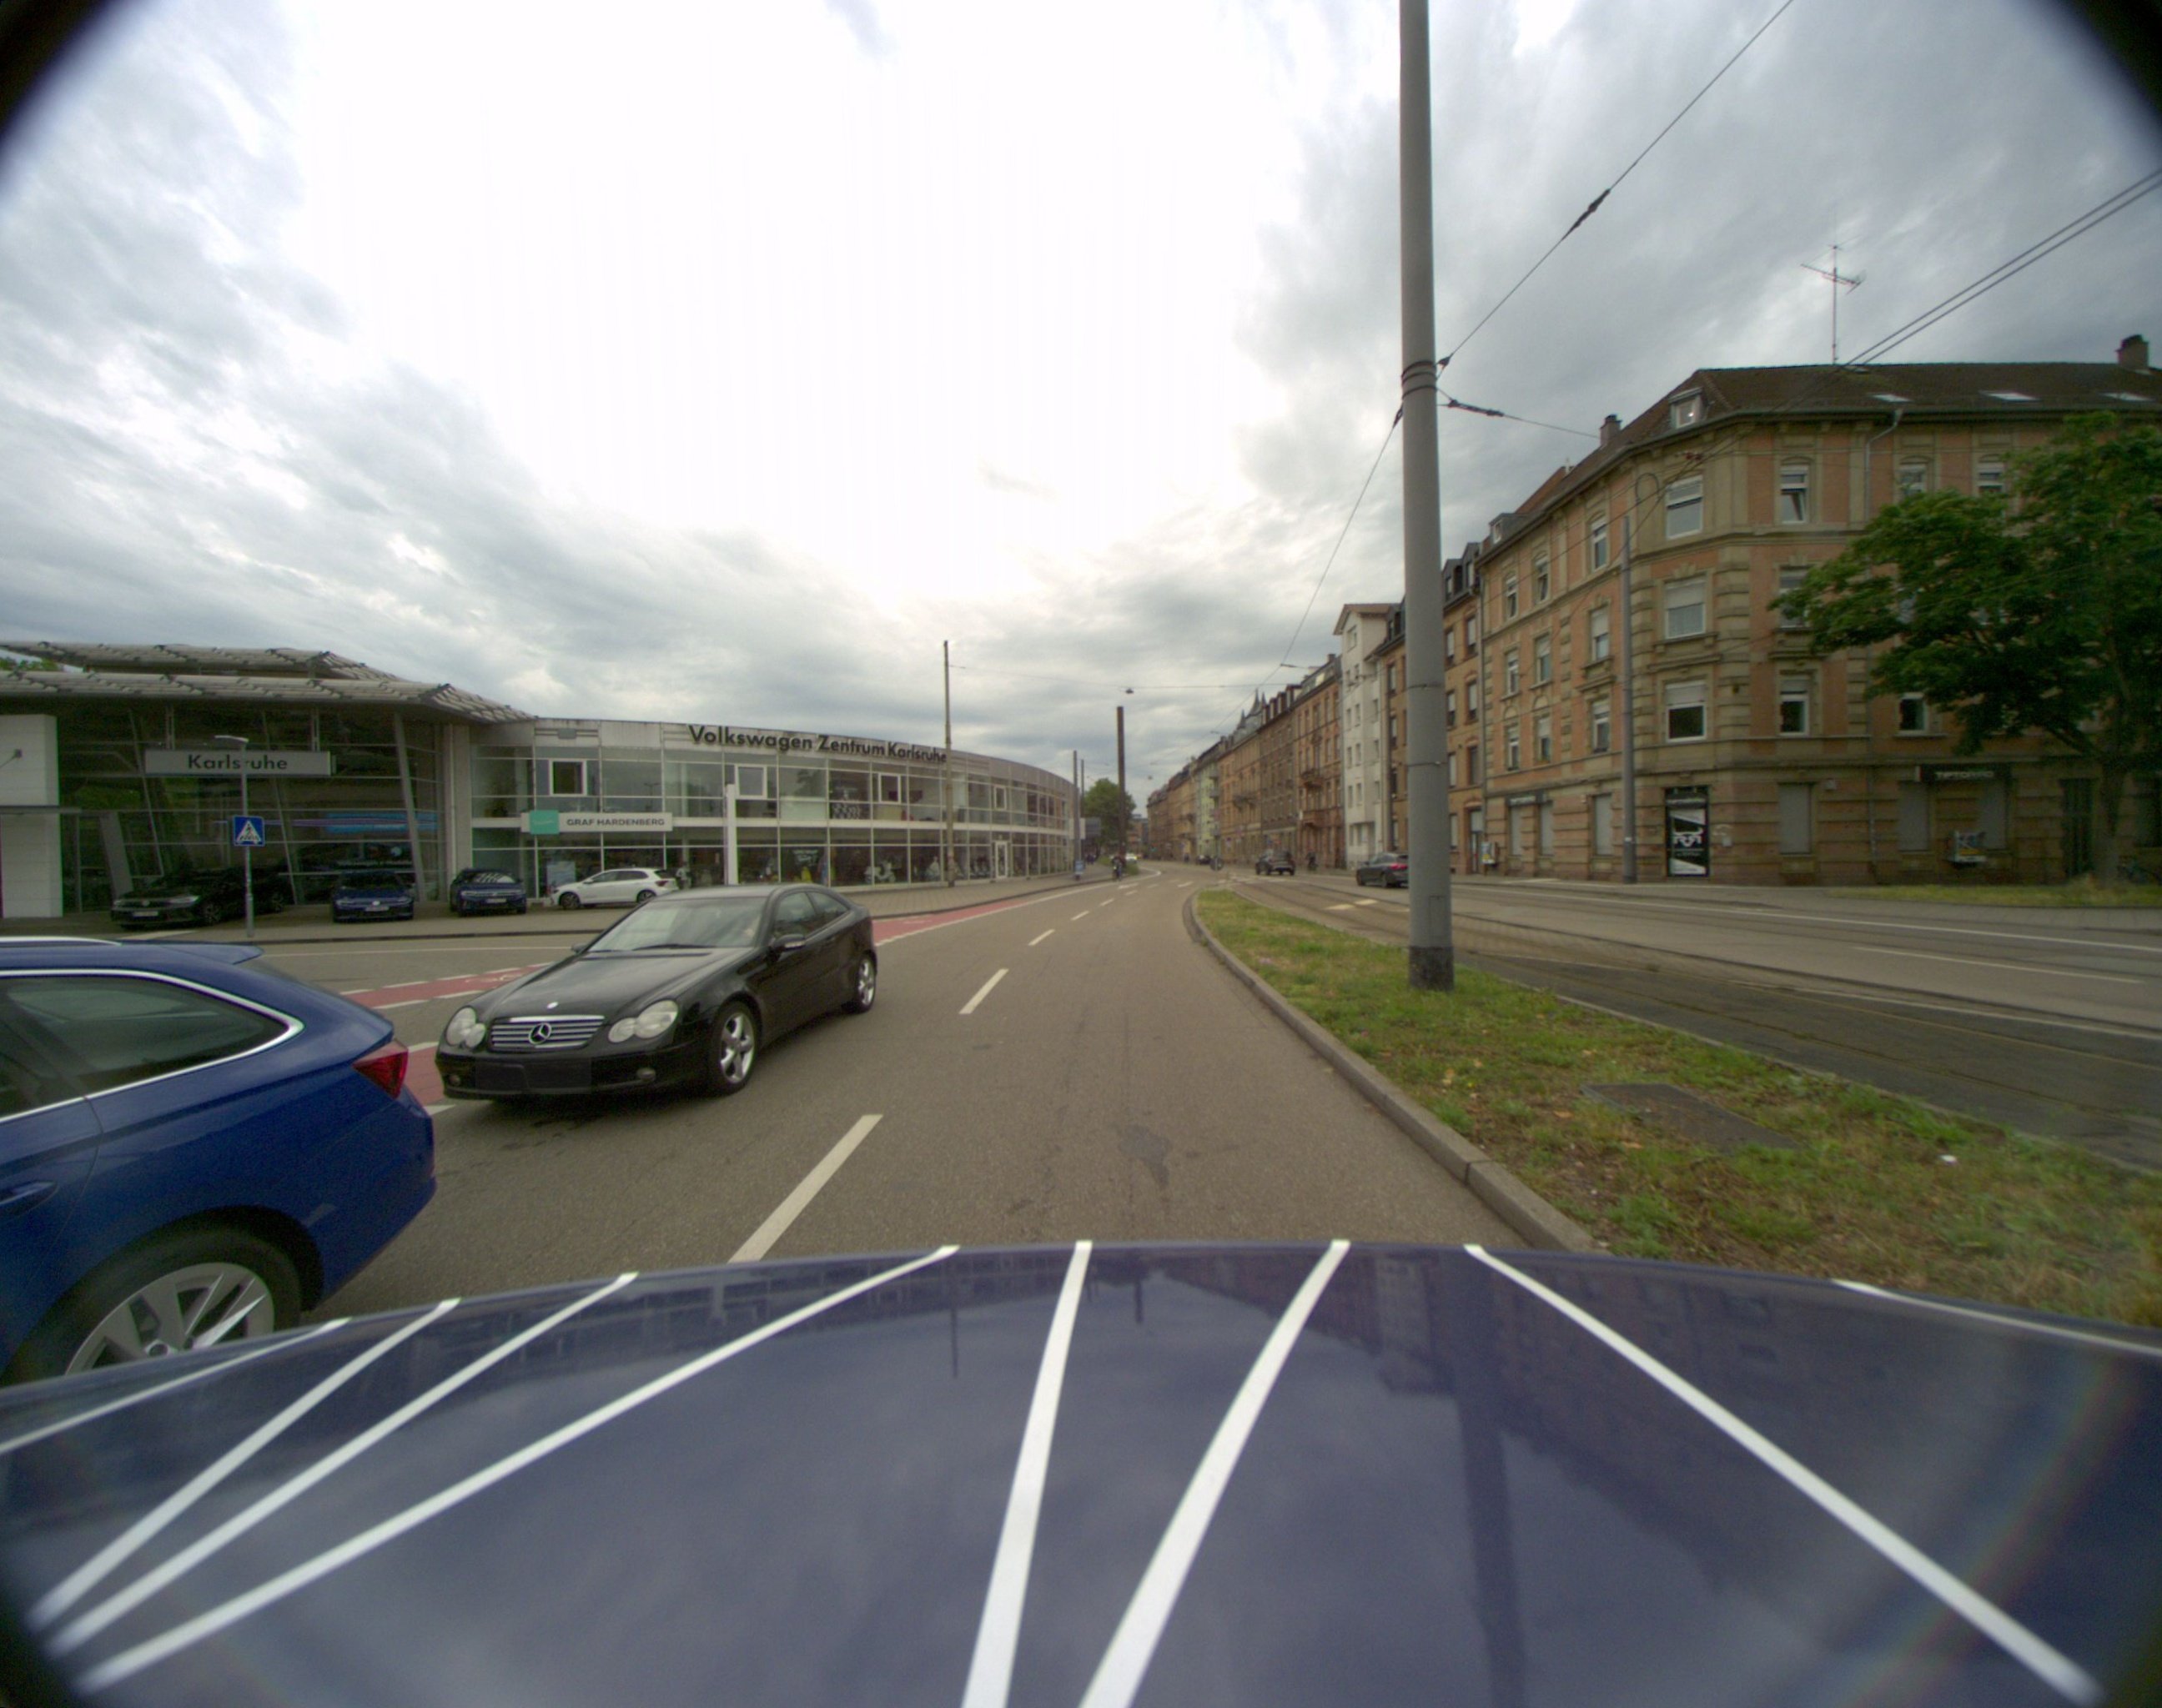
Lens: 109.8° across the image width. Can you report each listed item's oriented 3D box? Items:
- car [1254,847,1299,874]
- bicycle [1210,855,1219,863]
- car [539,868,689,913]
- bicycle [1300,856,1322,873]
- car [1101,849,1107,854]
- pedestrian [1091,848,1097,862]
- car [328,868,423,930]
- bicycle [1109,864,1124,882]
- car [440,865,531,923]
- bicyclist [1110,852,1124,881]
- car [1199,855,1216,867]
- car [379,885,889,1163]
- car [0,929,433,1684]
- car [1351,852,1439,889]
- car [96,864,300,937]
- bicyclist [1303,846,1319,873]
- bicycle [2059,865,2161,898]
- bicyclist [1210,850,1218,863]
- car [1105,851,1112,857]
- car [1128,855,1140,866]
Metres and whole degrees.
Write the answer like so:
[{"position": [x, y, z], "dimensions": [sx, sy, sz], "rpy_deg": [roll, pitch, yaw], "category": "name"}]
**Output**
[{"position": [12.864, 0.402, 50.275], "dimensions": [1.802, 1.630, 4.229], "rpy_deg": [-1, 0, -1], "category": "car"}, {"position": [15.658, 0.591, 89.227], "dimensions": [0.607, 0.910, 1.719], "rpy_deg": [-1, 0, -4], "category": "bicycle"}, {"position": [-16.994, 1.292, 27.839], "dimensions": [4.263, 1.444, 1.781], "rpy_deg": [-1, 0, -9], "category": "car"}, {"position": [16.419, 0.712, 54.286], "dimensions": [0.826, 1.201, 2.234], "rpy_deg": [0, 0, -1], "category": "bicycle"}, {"position": [7.617, -0.892, 247.952], "dimensions": [1.802, 1.630, 4.230], "rpy_deg": [-1, 0, 1], "category": "car"}, {"position": [1.794, 0.095, 103.658], "dimensions": [0.871, 1.843, 0.706], "rpy_deg": [-1, 1, 1], "category": "pedestrian"}, {"position": [-22.198, 1.319, 23.843], "dimensions": [4.325, 1.496, 1.862], "rpy_deg": [3, 3, 43], "category": "car"}, {"position": [2.156, 1.128, 45.950], "dimensions": [0.727, 1.003, 2.177], "rpy_deg": [-1, 0, 7], "category": "bicycle"}, {"position": [-20.143, 1.263, 25.636], "dimensions": [1.905, 1.554, 4.207], "rpy_deg": [-2, 3, -45], "category": "car"}, {"position": [2.169, 0.749, 46.024], "dimensions": [0.730, 1.747, 0.911], "rpy_deg": [-1, 1, 7], "category": "bicyclist"}, {"position": [17.088, 0.908, 102.889], "dimensions": [1.852, 1.471, 3.828], "rpy_deg": [-1, 0, 3], "category": "car"}, {"position": [-3.104, 1.073, 6.422], "dimensions": [1.714, 1.413, 4.070], "rpy_deg": [-1, 0, 3], "category": "car"}, {"position": [-3.201, 1.040, 0.417], "dimensions": [1.784, 1.480, 4.465], "rpy_deg": [-1, 1, 1], "category": "car"}, {"position": [12.809, 0.617, 31.292], "dimensions": [1.698, 1.387, 4.391], "rpy_deg": [-1, 0, -2], "category": "car"}, {"position": [-26.482, 1.297, 23.074], "dimensions": [1.862, 1.624, 4.500], "rpy_deg": [-3, 4, -18], "category": "car"}, {"position": [16.422, 0.378, 54.217], "dimensions": [0.831, 1.881, 1.049], "rpy_deg": [0, 0, -1], "category": "bicyclist"}, {"position": [30.327, 0.823, 22.235], "dimensions": [0.662, 0.909, 1.989], "rpy_deg": [0, -3, -10], "category": "bicycle"}, {"position": [15.653, 0.293, 89.222], "dimensions": [0.663, 1.486, 0.942], "rpy_deg": [-1, 1, -3], "category": "bicyclist"}, {"position": [7.805, -0.083, 216.328], "dimensions": [1.802, 1.630, 4.230], "rpy_deg": [-1, 0, 1], "category": "car"}, {"position": [8.749, 1.059, 125.960], "dimensions": [1.802, 1.630, 4.230], "rpy_deg": [-1, 0, 1], "category": "car"}]
